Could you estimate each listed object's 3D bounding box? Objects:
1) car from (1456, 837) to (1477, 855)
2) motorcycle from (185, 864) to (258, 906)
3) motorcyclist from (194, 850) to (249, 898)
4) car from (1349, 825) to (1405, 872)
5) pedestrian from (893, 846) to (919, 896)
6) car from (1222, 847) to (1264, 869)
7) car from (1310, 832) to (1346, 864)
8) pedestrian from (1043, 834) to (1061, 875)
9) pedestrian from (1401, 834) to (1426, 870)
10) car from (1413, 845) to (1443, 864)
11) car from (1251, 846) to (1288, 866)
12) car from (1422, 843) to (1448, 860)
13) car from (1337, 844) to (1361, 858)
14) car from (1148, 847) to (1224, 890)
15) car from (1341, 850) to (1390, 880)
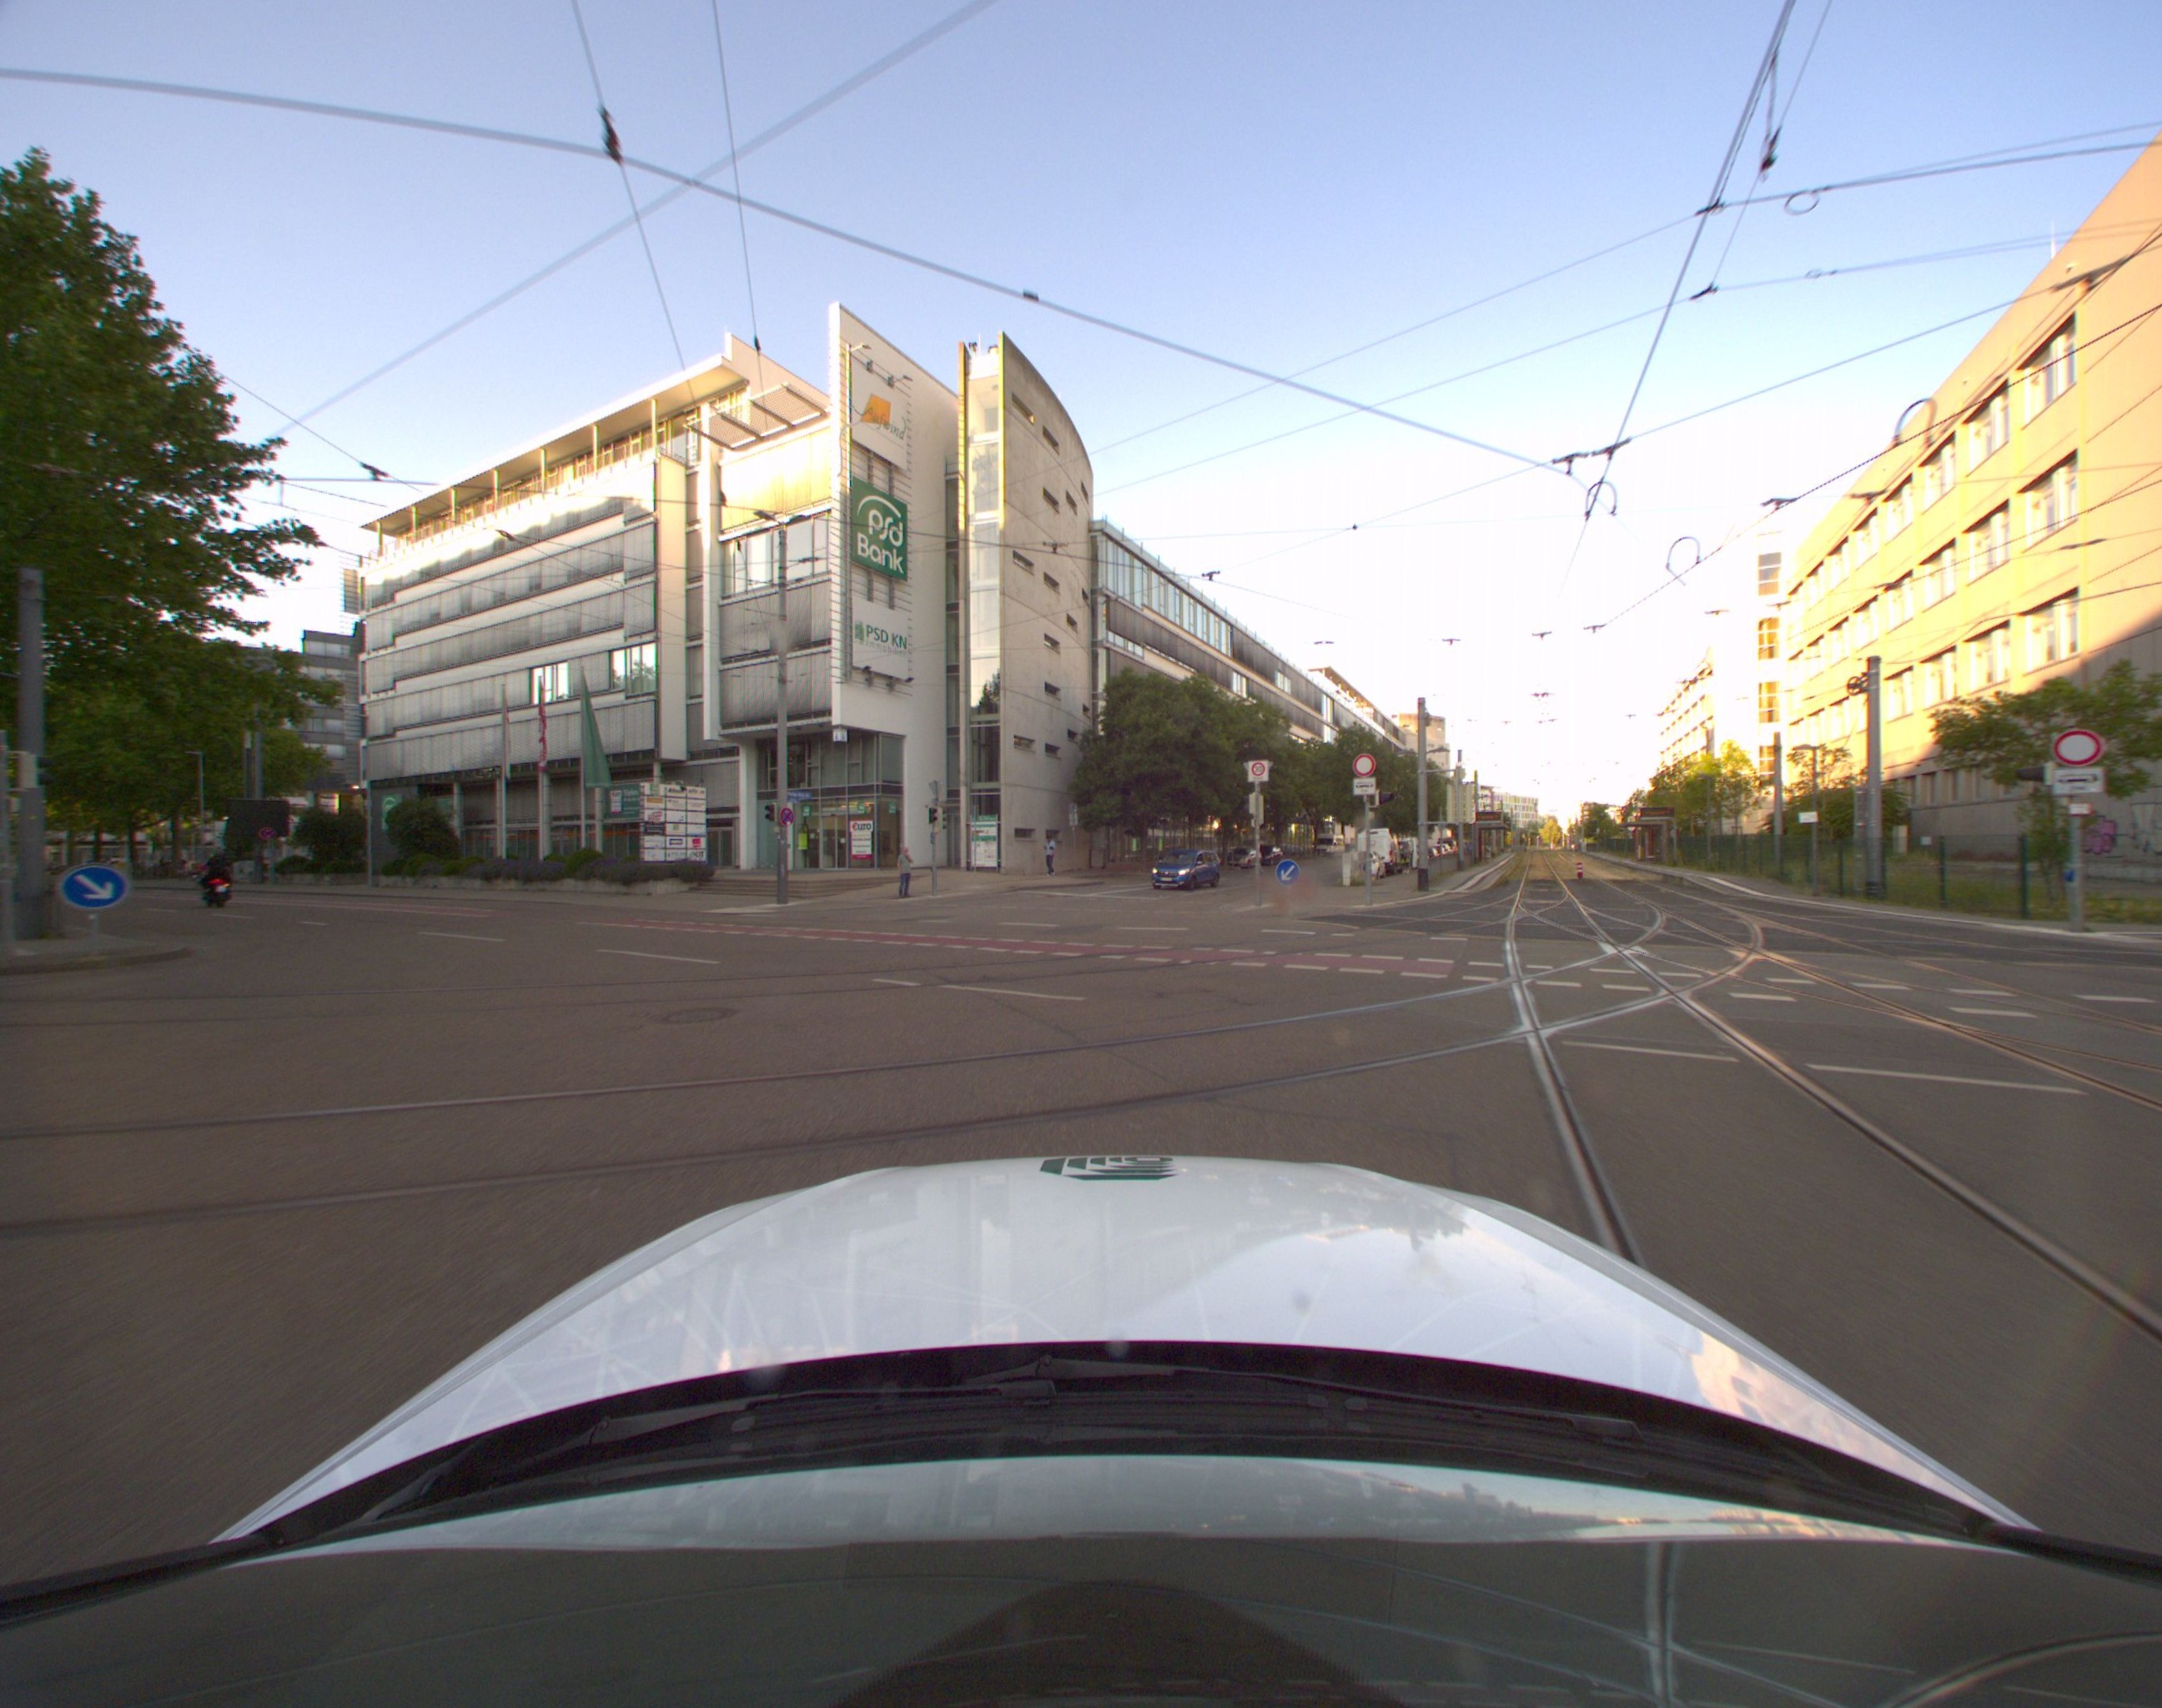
[{"bbox_3d":[42.848,-0.896,90.480,1.975,2.013,4.024,0,1,27],"label":"car"},{"bbox_3d":[-26.857,0.945,25.448,2.460,1.240,0.836,0,0,25],"label":"motorcycle"},{"bbox_3d":[-26.874,0.612,25.460,1.192,1.473,0.836,0,0,25],"label":"motorcyclist"},{"bbox_3d":[16.988,-0.329,46.581,2.438,2.482,5.842,0,1,25],"label":"car"},{"bbox_3d":[-6.033,0.570,28.081,0.541,1.711,0.664,0,0,39],"label":"pedestrian"},{"bbox_3d":[11.628,0.274,58.303,1.667,1.501,4.265,0,1,30],"label":"car"},{"bbox_3d":[25.205,-0.596,82.839,2.180,3.151,6.181,0,1,30],"label":"car"},{"bbox_3d":[-1.405,0.023,39.088,0.656,1.922,0.551,-1,0,18],"label":"pedestrian"},{"bbox_3d":[18.960,-0.136,46.479,1.035,2.030,0.985,0,0,2],"label":"pedestrian"},{"bbox_3d":[27.020,0.037,63.356,1.667,1.439,4.151,0,1,29],"label":"car"},{"bbox_3d":[14.783,0.133,63.633,1.667,1.501,4.265,0,1,30],"label":"car"},{"bbox_3d":[30.927,-0.245,71.066,1.667,1.439,4.151,0,1,29],"label":"car"},{"bbox_3d":[29.943,-0.350,90.919,1.667,1.501,4.265,0,1,30],"label":"car"},{"bbox_3d":[4.563,0.576,34.856,1.666,1.699,4.266,0,1,31],"label":"car"},{"bbox_3d":[14.483,0.514,41.337,1.667,1.439,4.151,0,1,29],"label":"car"}]
